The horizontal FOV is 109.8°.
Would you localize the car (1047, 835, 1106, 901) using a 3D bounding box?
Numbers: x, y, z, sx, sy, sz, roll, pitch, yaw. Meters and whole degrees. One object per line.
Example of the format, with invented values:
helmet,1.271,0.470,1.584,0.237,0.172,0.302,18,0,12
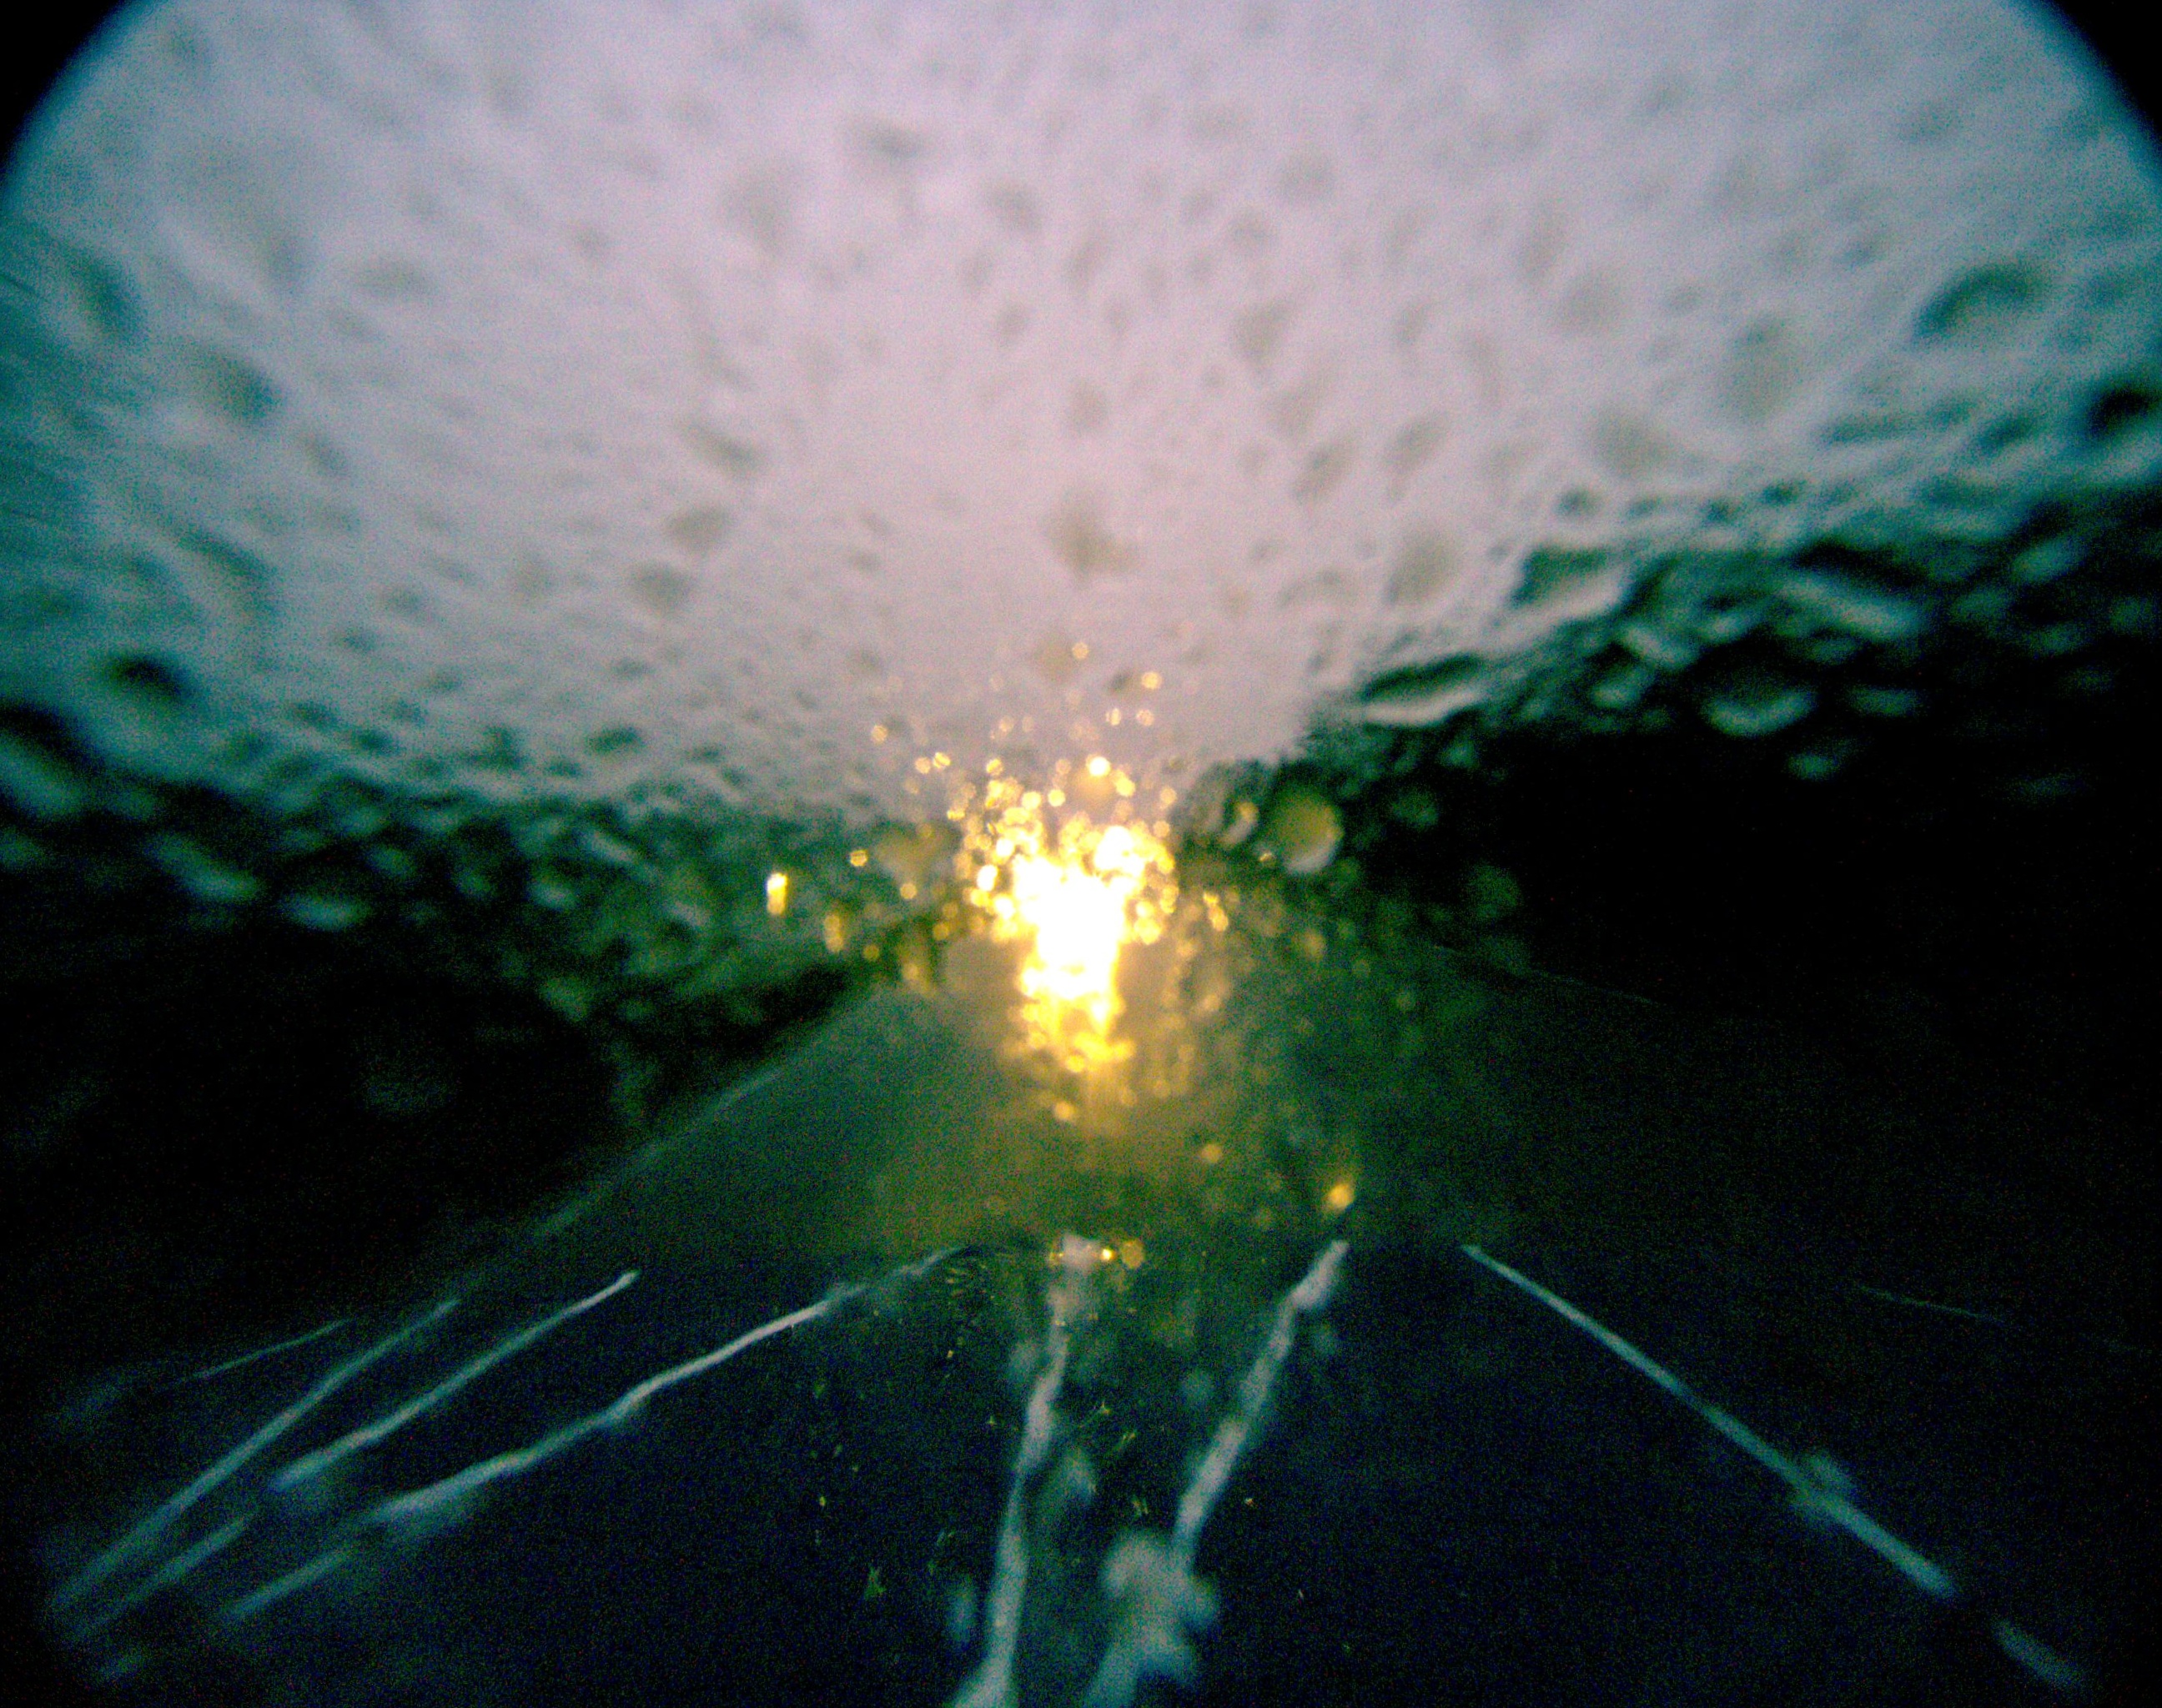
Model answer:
car,-0.094,0.479,28.435,1.953,2.195,4.535,-2,0,2
